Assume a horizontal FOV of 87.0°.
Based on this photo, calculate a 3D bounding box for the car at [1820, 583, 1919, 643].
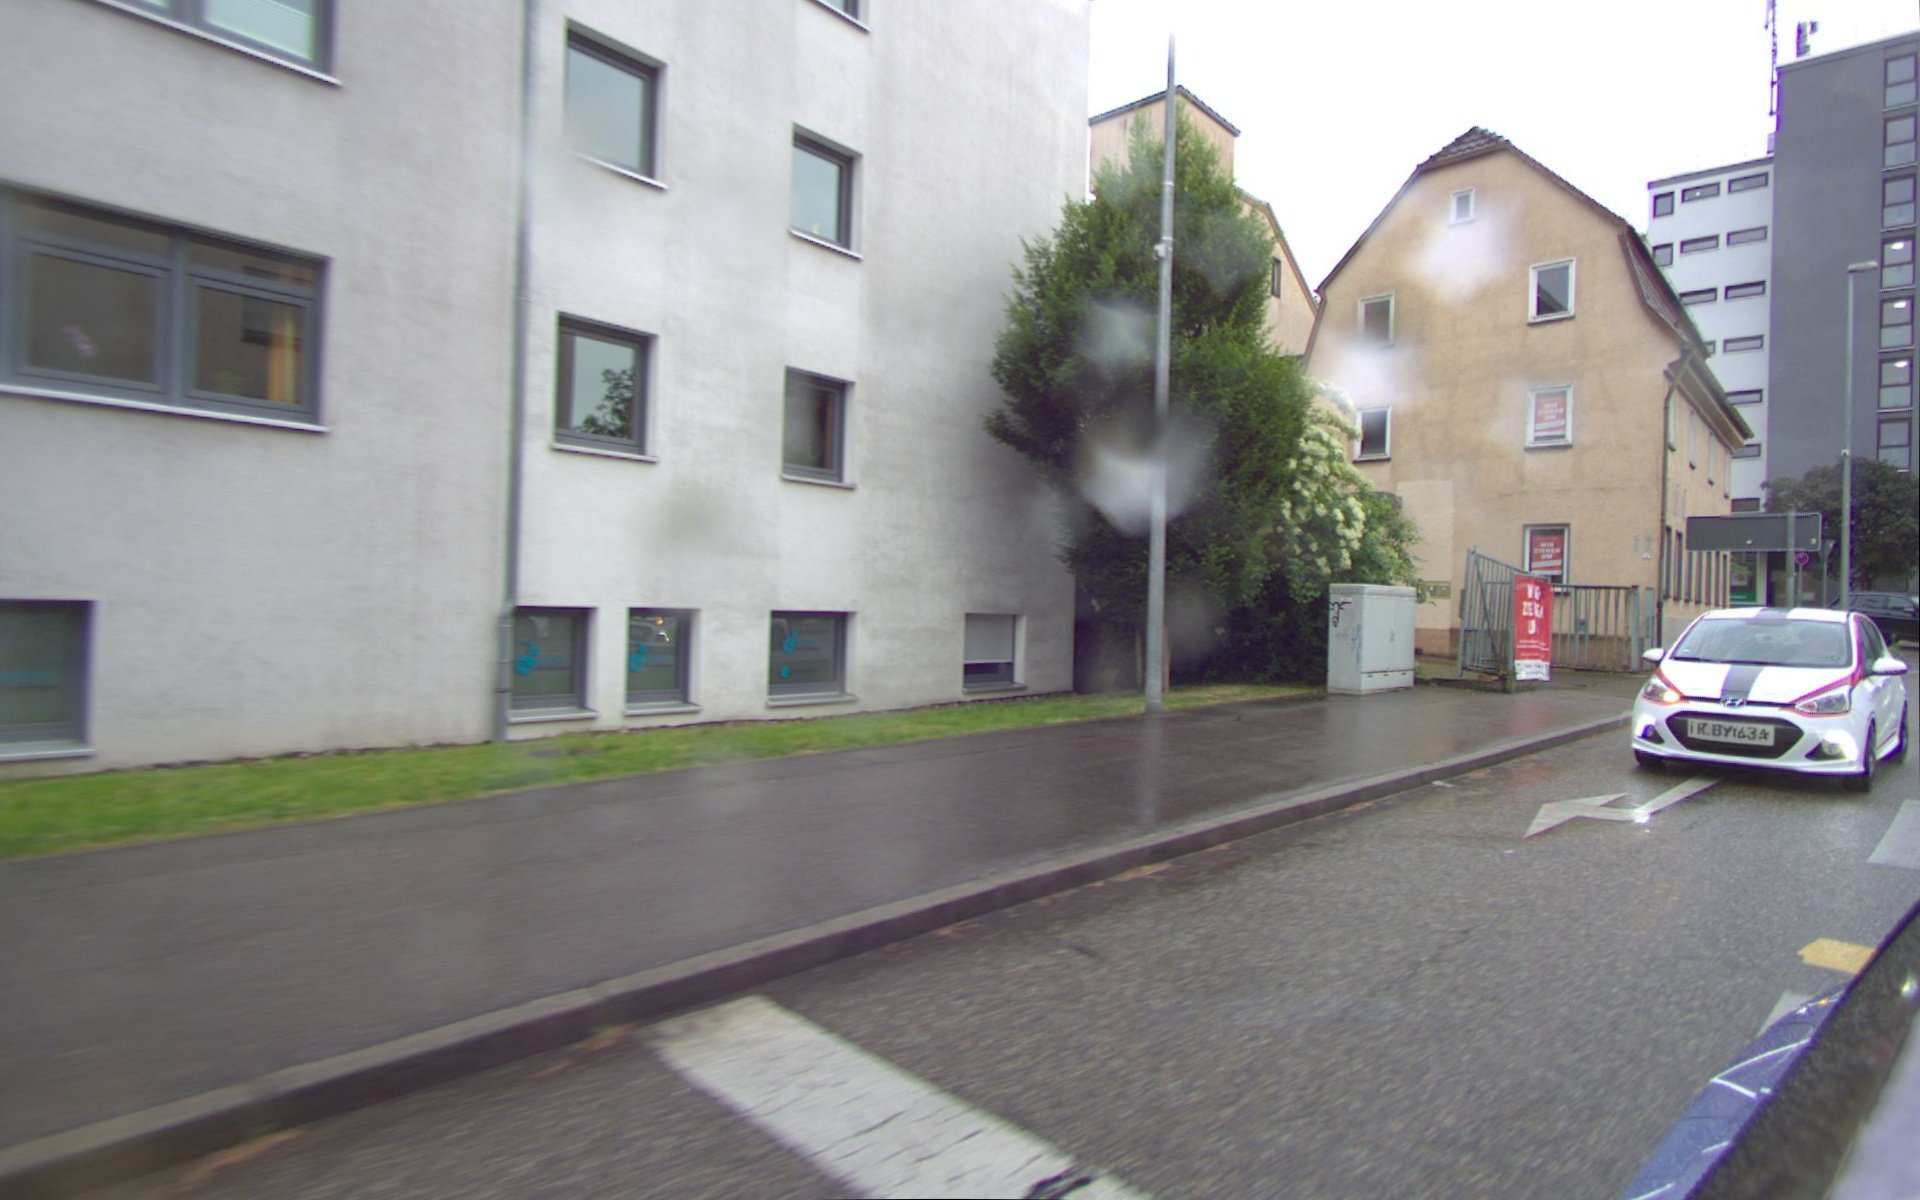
[{"bbox_3d":[28.384,0.406,29.773,1.683,1.592,4.431,-1,3,-19],"label":"car"}]

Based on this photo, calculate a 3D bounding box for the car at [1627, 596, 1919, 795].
[{"bbox_3d":[7.922,0.724,9.633,3.698,1.471,1.710,0,2,-41],"label":"car"}]
